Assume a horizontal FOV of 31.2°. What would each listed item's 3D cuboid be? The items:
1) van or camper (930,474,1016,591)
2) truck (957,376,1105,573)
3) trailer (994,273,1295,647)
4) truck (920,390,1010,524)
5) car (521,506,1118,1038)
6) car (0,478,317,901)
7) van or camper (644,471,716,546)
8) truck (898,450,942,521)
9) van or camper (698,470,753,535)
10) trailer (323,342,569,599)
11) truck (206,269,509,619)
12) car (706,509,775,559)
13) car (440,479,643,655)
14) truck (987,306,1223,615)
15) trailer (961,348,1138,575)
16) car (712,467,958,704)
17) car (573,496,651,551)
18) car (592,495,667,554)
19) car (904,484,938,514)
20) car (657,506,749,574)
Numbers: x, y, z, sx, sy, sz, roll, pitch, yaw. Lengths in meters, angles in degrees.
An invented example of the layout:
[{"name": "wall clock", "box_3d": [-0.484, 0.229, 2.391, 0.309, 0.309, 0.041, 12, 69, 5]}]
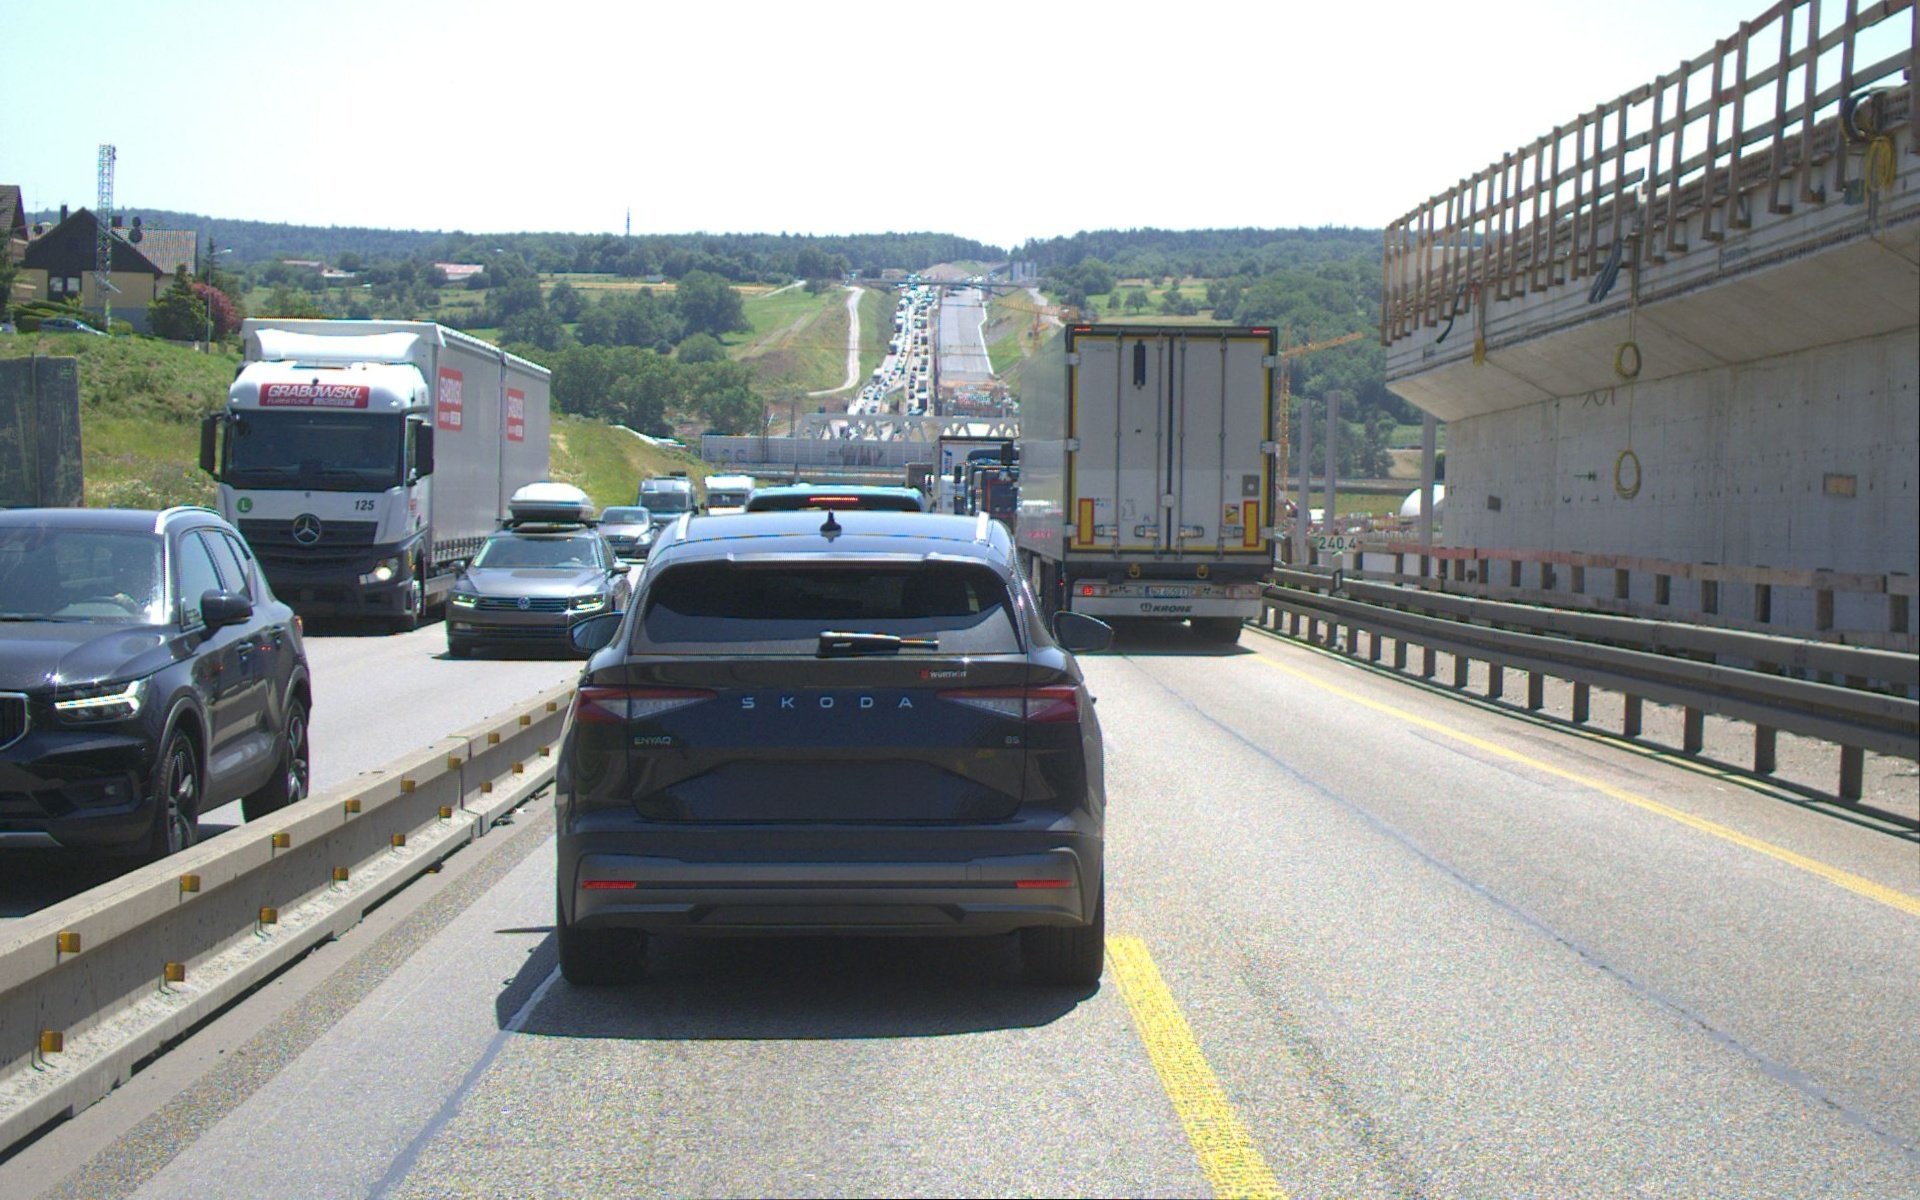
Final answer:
[{"name": "van or camper", "box_3d": [0.410, -1.923, 99.637, 2.389, 3.269, 6.469, 1, 0, 1]}, {"name": "truck", "box_3d": [1.642, -2.941, 83.539, 3.180, 4.497, 8.166, 1, 1, -1]}, {"name": "trailer", "box_3d": [2.302, -1.928, 48.238, 3.180, 4.497, 13.110, 1, 2, -1]}, {"name": "truck", "box_3d": [0.102, -5.069, 124.971, 2.852, 4.449, 11.919, 1, 1, -2]}, {"name": "car", "box_3d": [-0.447, 0.486, 12.475, 1.802, 1.602, 4.000, 1, 1, -1]}, {"name": "car", "box_3d": [-4.232, 0.309, 15.679, 1.870, 1.678, 4.000, 1, 1, -1]}, {"name": "van or camper", "box_3d": [-9.961, -3.282, 122.633, 2.140, 2.564, 6.565, 1, 2, -1]}, {"name": "truck", "box_3d": [-2.517, -7.107, 214.922, 2.639, 4.179, 9.285, 1, 1, -1]}, {"name": "van or camper", "box_3d": [-11.349, -4.713, 166.524, 2.291, 3.056, 6.925, 1, 2, -1]}, {"name": "trailer", "box_3d": [-8.533, -2.114, 58.131, 2.929, 3.975, 8.707, 1, 1, -1]}, {"name": "truck", "box_3d": [-8.283, -2.077, 48.595, 2.620, 4.381, 10.386, 1, 1, -1]}, {"name": "car", "box_3d": [-6.376, -1.931, 100.128, 1.829, 1.428, 4.630, 0, 2, -1]}, {"name": "car", "box_3d": [-4.750, -0.418, 39.587, 1.849, 1.883, 4.502, 1, 1, -1]}, {"name": "truck", "box_3d": [2.166, -2.193, 54.704, 3.180, 4.497, 8.167, 1, 2, -1]}, {"name": "trailer", "box_3d": [1.804, -2.857, 76.489, 3.180, 4.497, 14.968, 1, 1, -1]}, {"name": "car", "box_3d": [-1.081, -0.143, 30.432, 1.993, 1.919, 4.508, 1, 1, -1]}, {"name": "car", "box_3d": [-9.811, -2.137, 97.053, 1.993, 1.469, 4.001, 1, 1, -3]}, {"name": "car", "box_3d": [-9.311, -2.135, 97.129, 1.773, 1.576, 4.286, 2, 1, -1]}, {"name": "car", "box_3d": [-2.088, -5.452, 185.291, 1.813, 1.596, 4.574, 1, 2, -1]}, {"name": "car", "box_3d": [-5.654, -1.340, 75.979, 1.802, 1.459, 4.001, 1, 1, -1]}]
